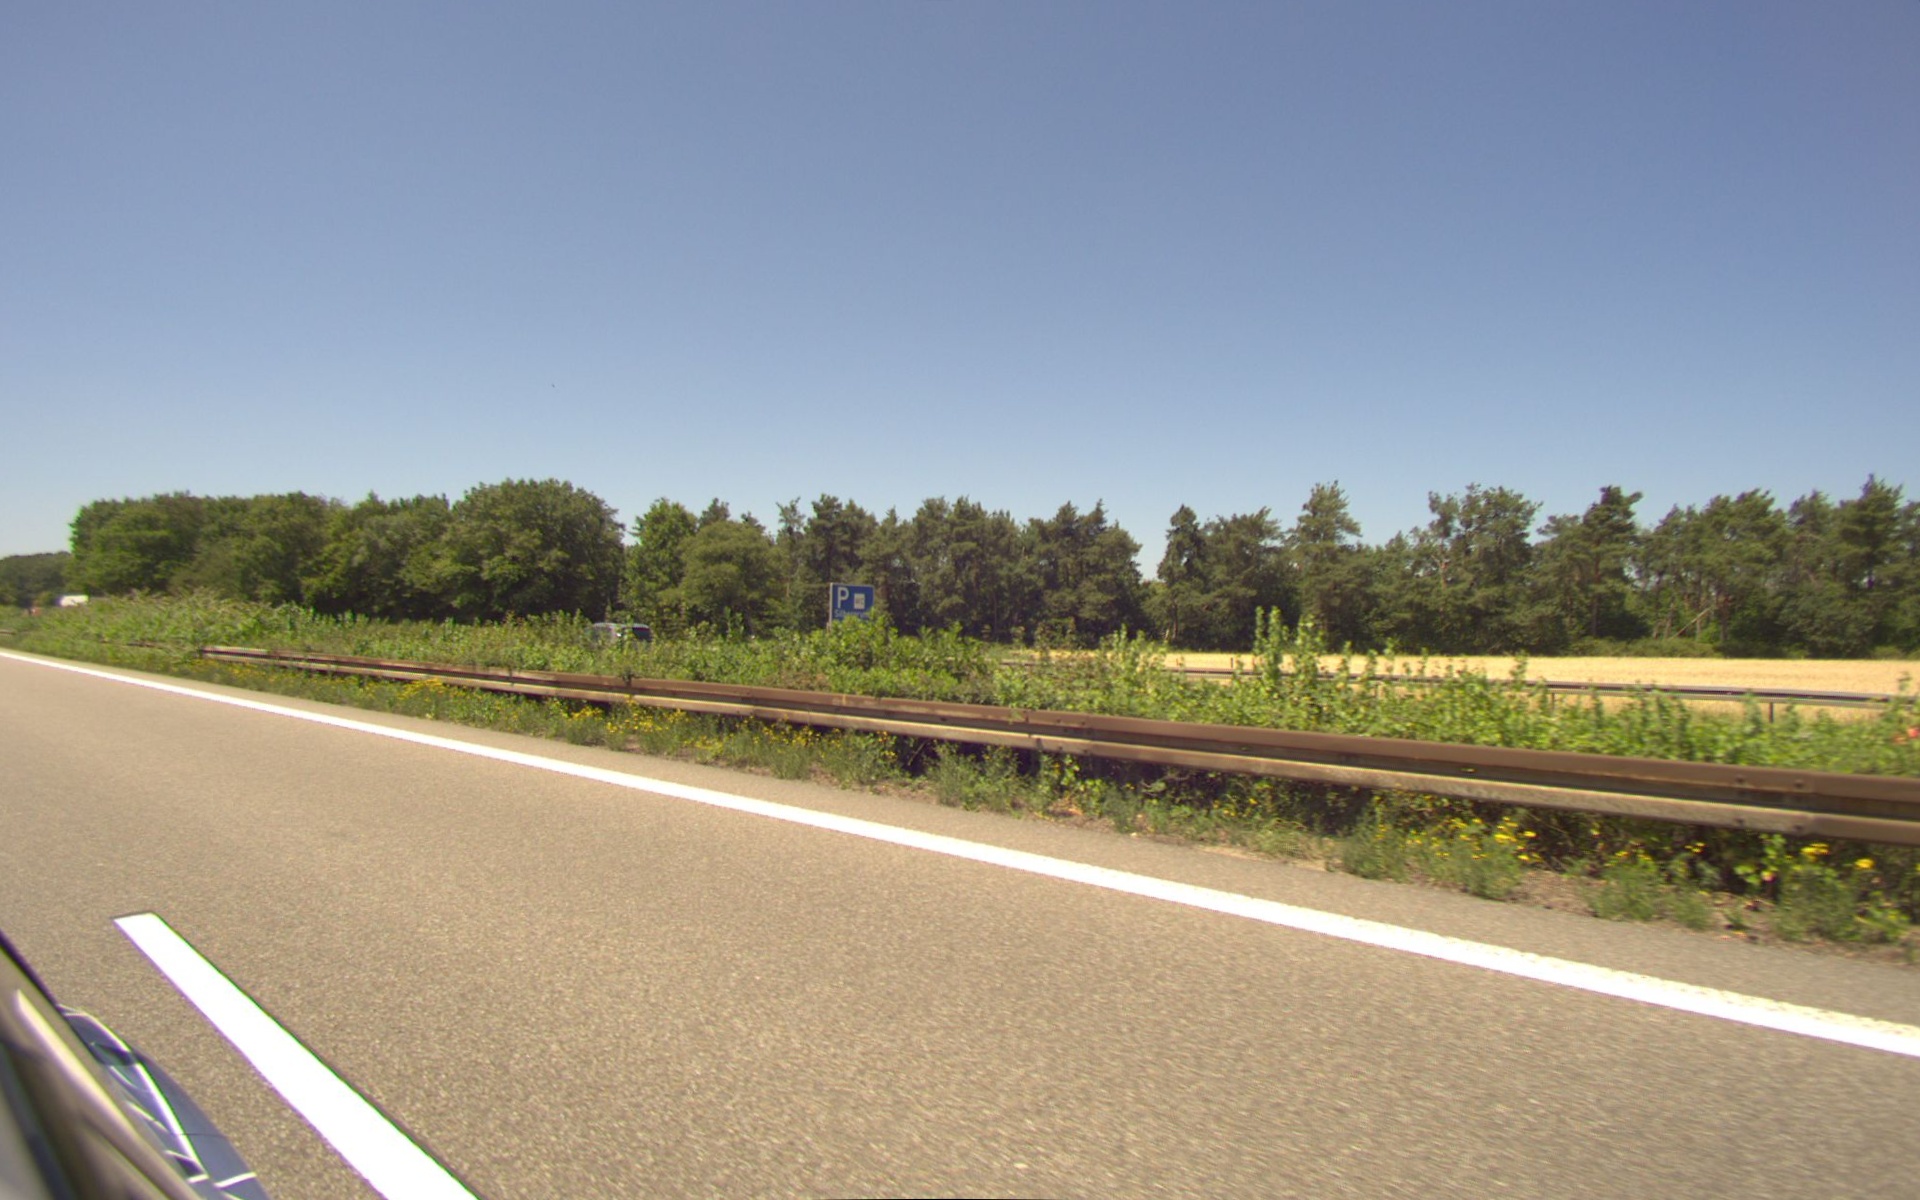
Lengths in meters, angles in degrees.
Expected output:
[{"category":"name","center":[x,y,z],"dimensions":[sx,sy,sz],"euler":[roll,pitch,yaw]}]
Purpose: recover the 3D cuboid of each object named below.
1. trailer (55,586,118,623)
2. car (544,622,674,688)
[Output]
[{"category":"trailer","center":[-93.514,0.509,108.178],"dimensions":[14.375,3.726,3.146],"euler":[-1,0,41]},{"category":"car","center":[-10.298,1.550,29.596],"dimensions":[3.998,1.792,1.855],"euler":[-1,-2,41]}]
